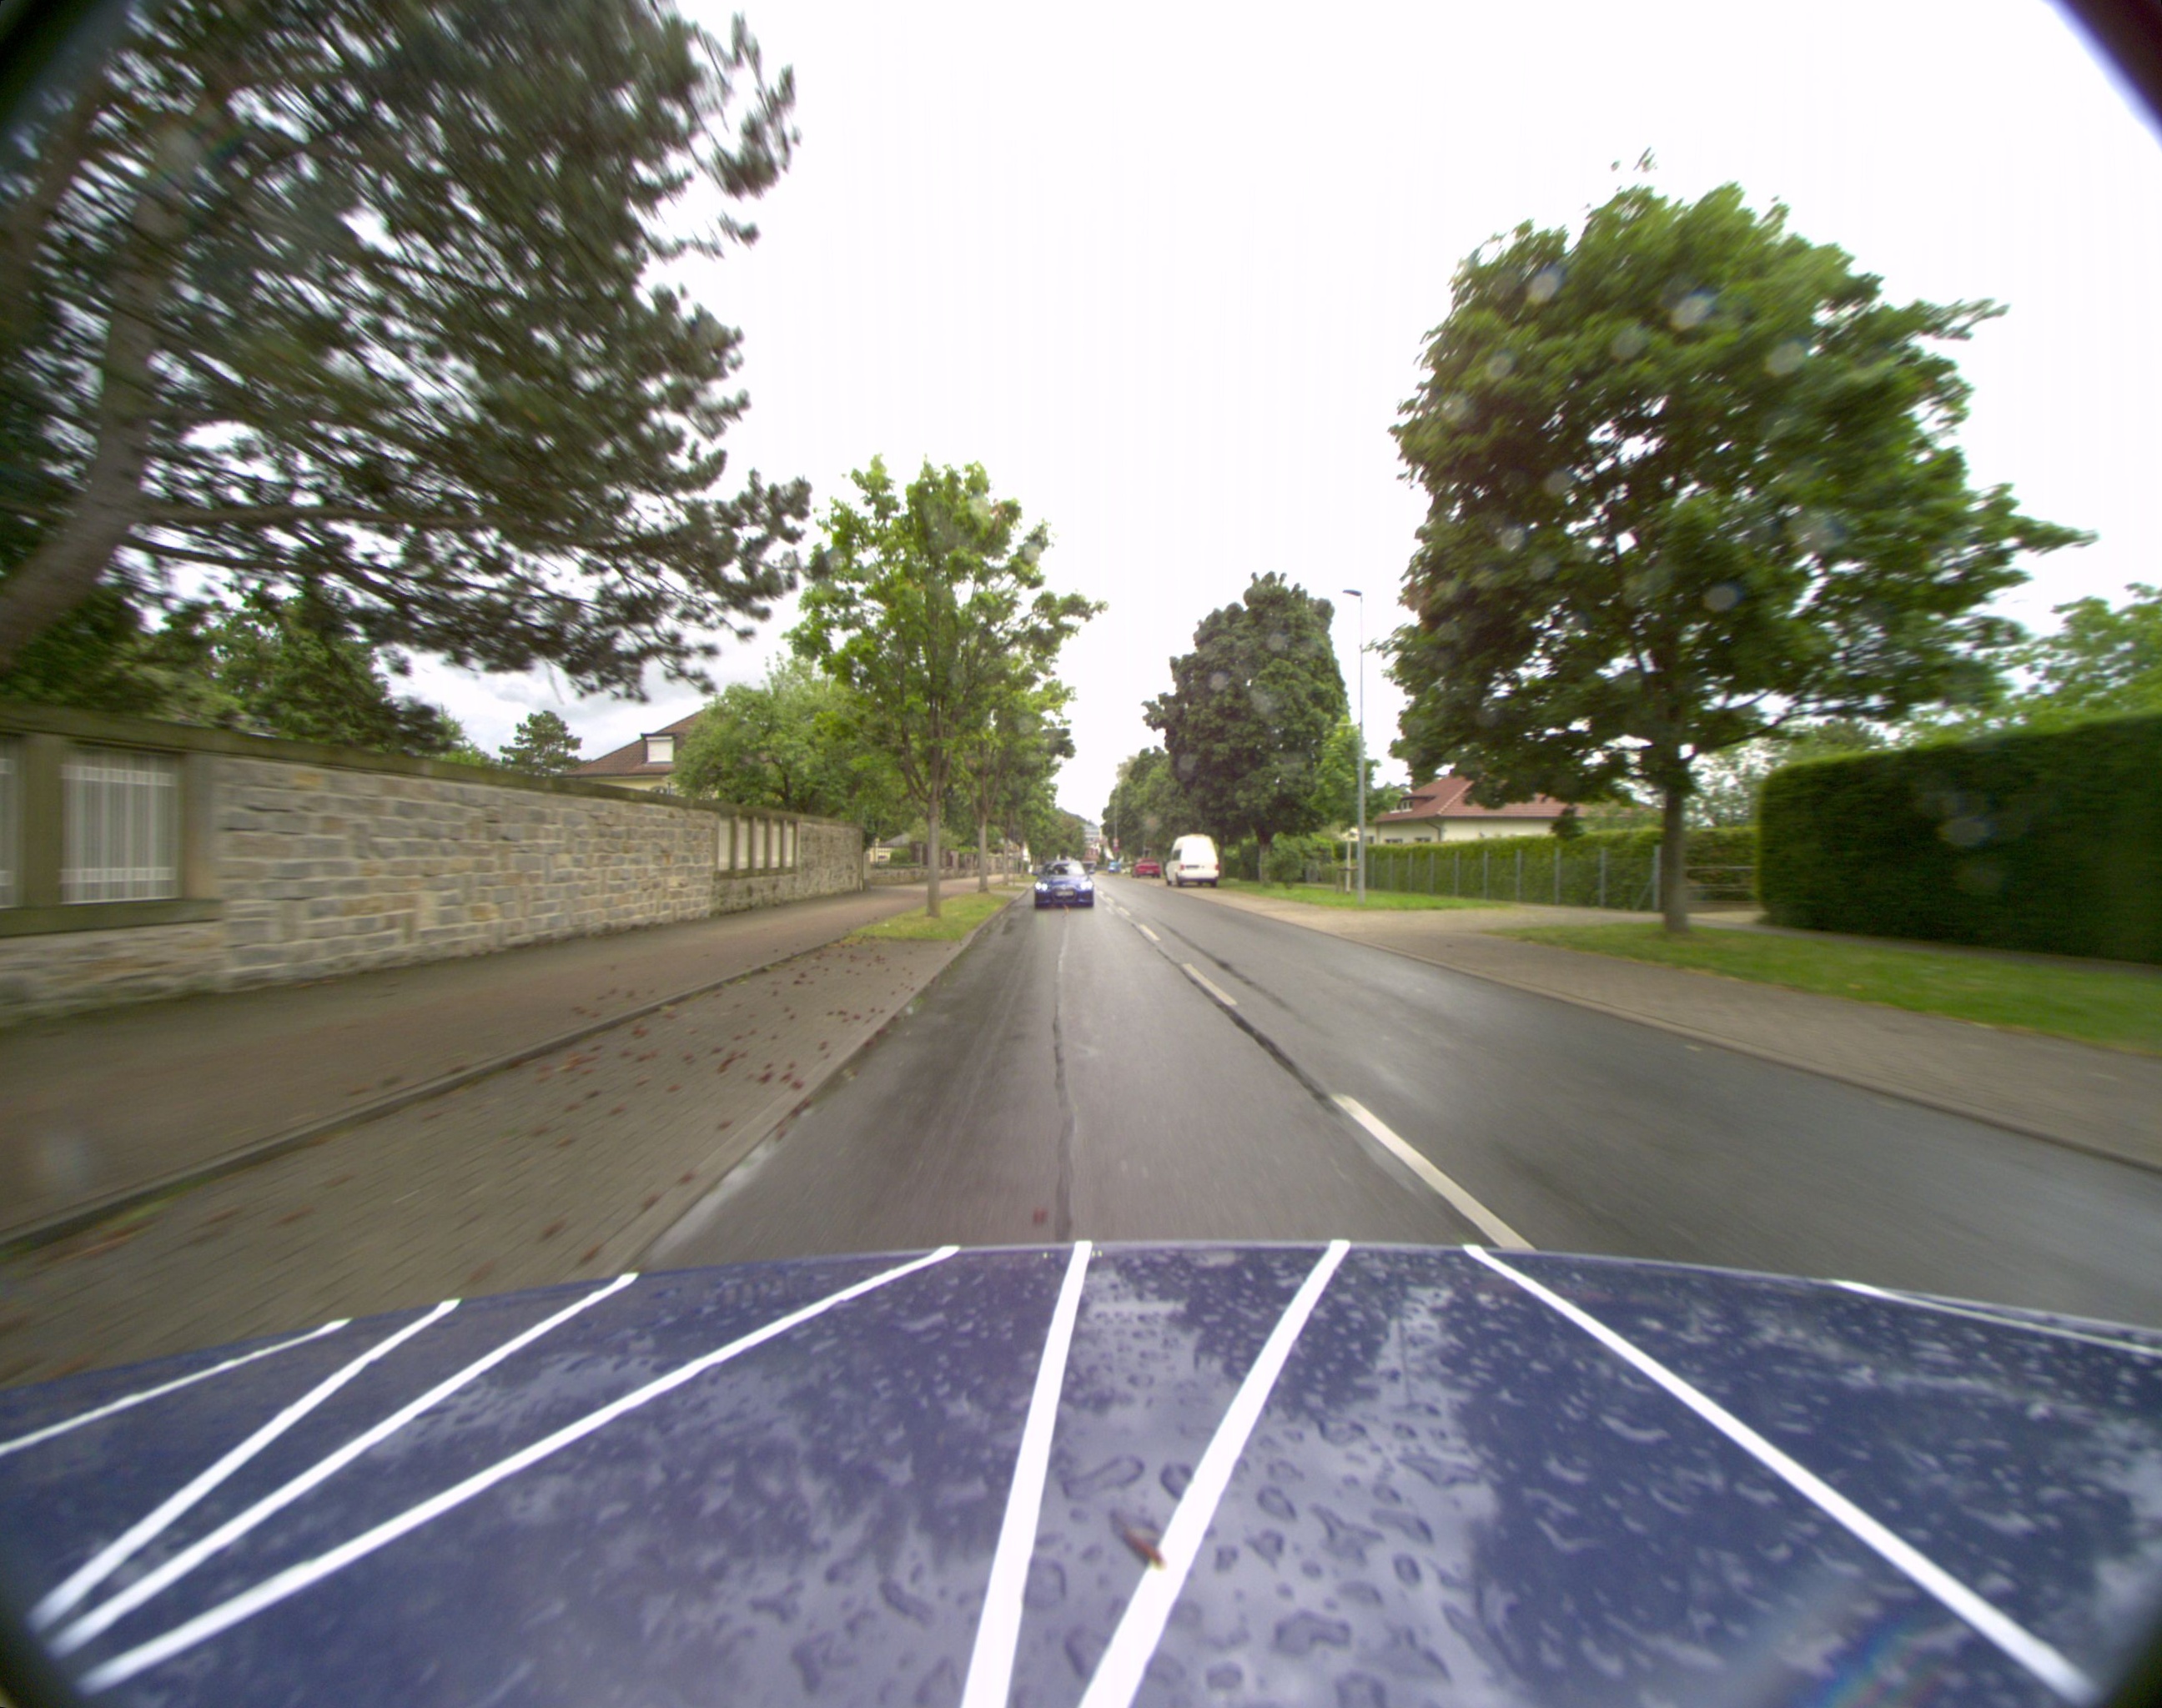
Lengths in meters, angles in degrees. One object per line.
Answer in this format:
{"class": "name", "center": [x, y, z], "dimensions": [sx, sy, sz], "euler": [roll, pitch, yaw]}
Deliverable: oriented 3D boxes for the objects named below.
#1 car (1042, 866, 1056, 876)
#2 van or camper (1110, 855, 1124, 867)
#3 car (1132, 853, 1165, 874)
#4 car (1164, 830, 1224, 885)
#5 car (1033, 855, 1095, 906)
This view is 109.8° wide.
{"class": "car", "center": [-4.594, 2.507, 109.676], "dimensions": [1.645, 1.369, 3.830], "euler": [2, -1, 2]}
{"class": "van or camper", "center": [8.737, 1.655, 183.722], "dimensions": [2.146, 2.593, 5.788], "euler": [2, 1, 15]}
{"class": "car", "center": [4.991, 0.712, 56.720], "dimensions": [1.848, 1.457, 4.249], "euler": [-1, 0, -2]}
{"class": "car", "center": [5.532, 0.162, 37.845], "dimensions": [1.999, 2.546, 5.232], "euler": [0, 0, -2]}
{"class": "car", "center": [-0.565, 0.854, 25.624], "dimensions": [1.896, 1.531, 4.000], "euler": [-2, -1, -1]}
